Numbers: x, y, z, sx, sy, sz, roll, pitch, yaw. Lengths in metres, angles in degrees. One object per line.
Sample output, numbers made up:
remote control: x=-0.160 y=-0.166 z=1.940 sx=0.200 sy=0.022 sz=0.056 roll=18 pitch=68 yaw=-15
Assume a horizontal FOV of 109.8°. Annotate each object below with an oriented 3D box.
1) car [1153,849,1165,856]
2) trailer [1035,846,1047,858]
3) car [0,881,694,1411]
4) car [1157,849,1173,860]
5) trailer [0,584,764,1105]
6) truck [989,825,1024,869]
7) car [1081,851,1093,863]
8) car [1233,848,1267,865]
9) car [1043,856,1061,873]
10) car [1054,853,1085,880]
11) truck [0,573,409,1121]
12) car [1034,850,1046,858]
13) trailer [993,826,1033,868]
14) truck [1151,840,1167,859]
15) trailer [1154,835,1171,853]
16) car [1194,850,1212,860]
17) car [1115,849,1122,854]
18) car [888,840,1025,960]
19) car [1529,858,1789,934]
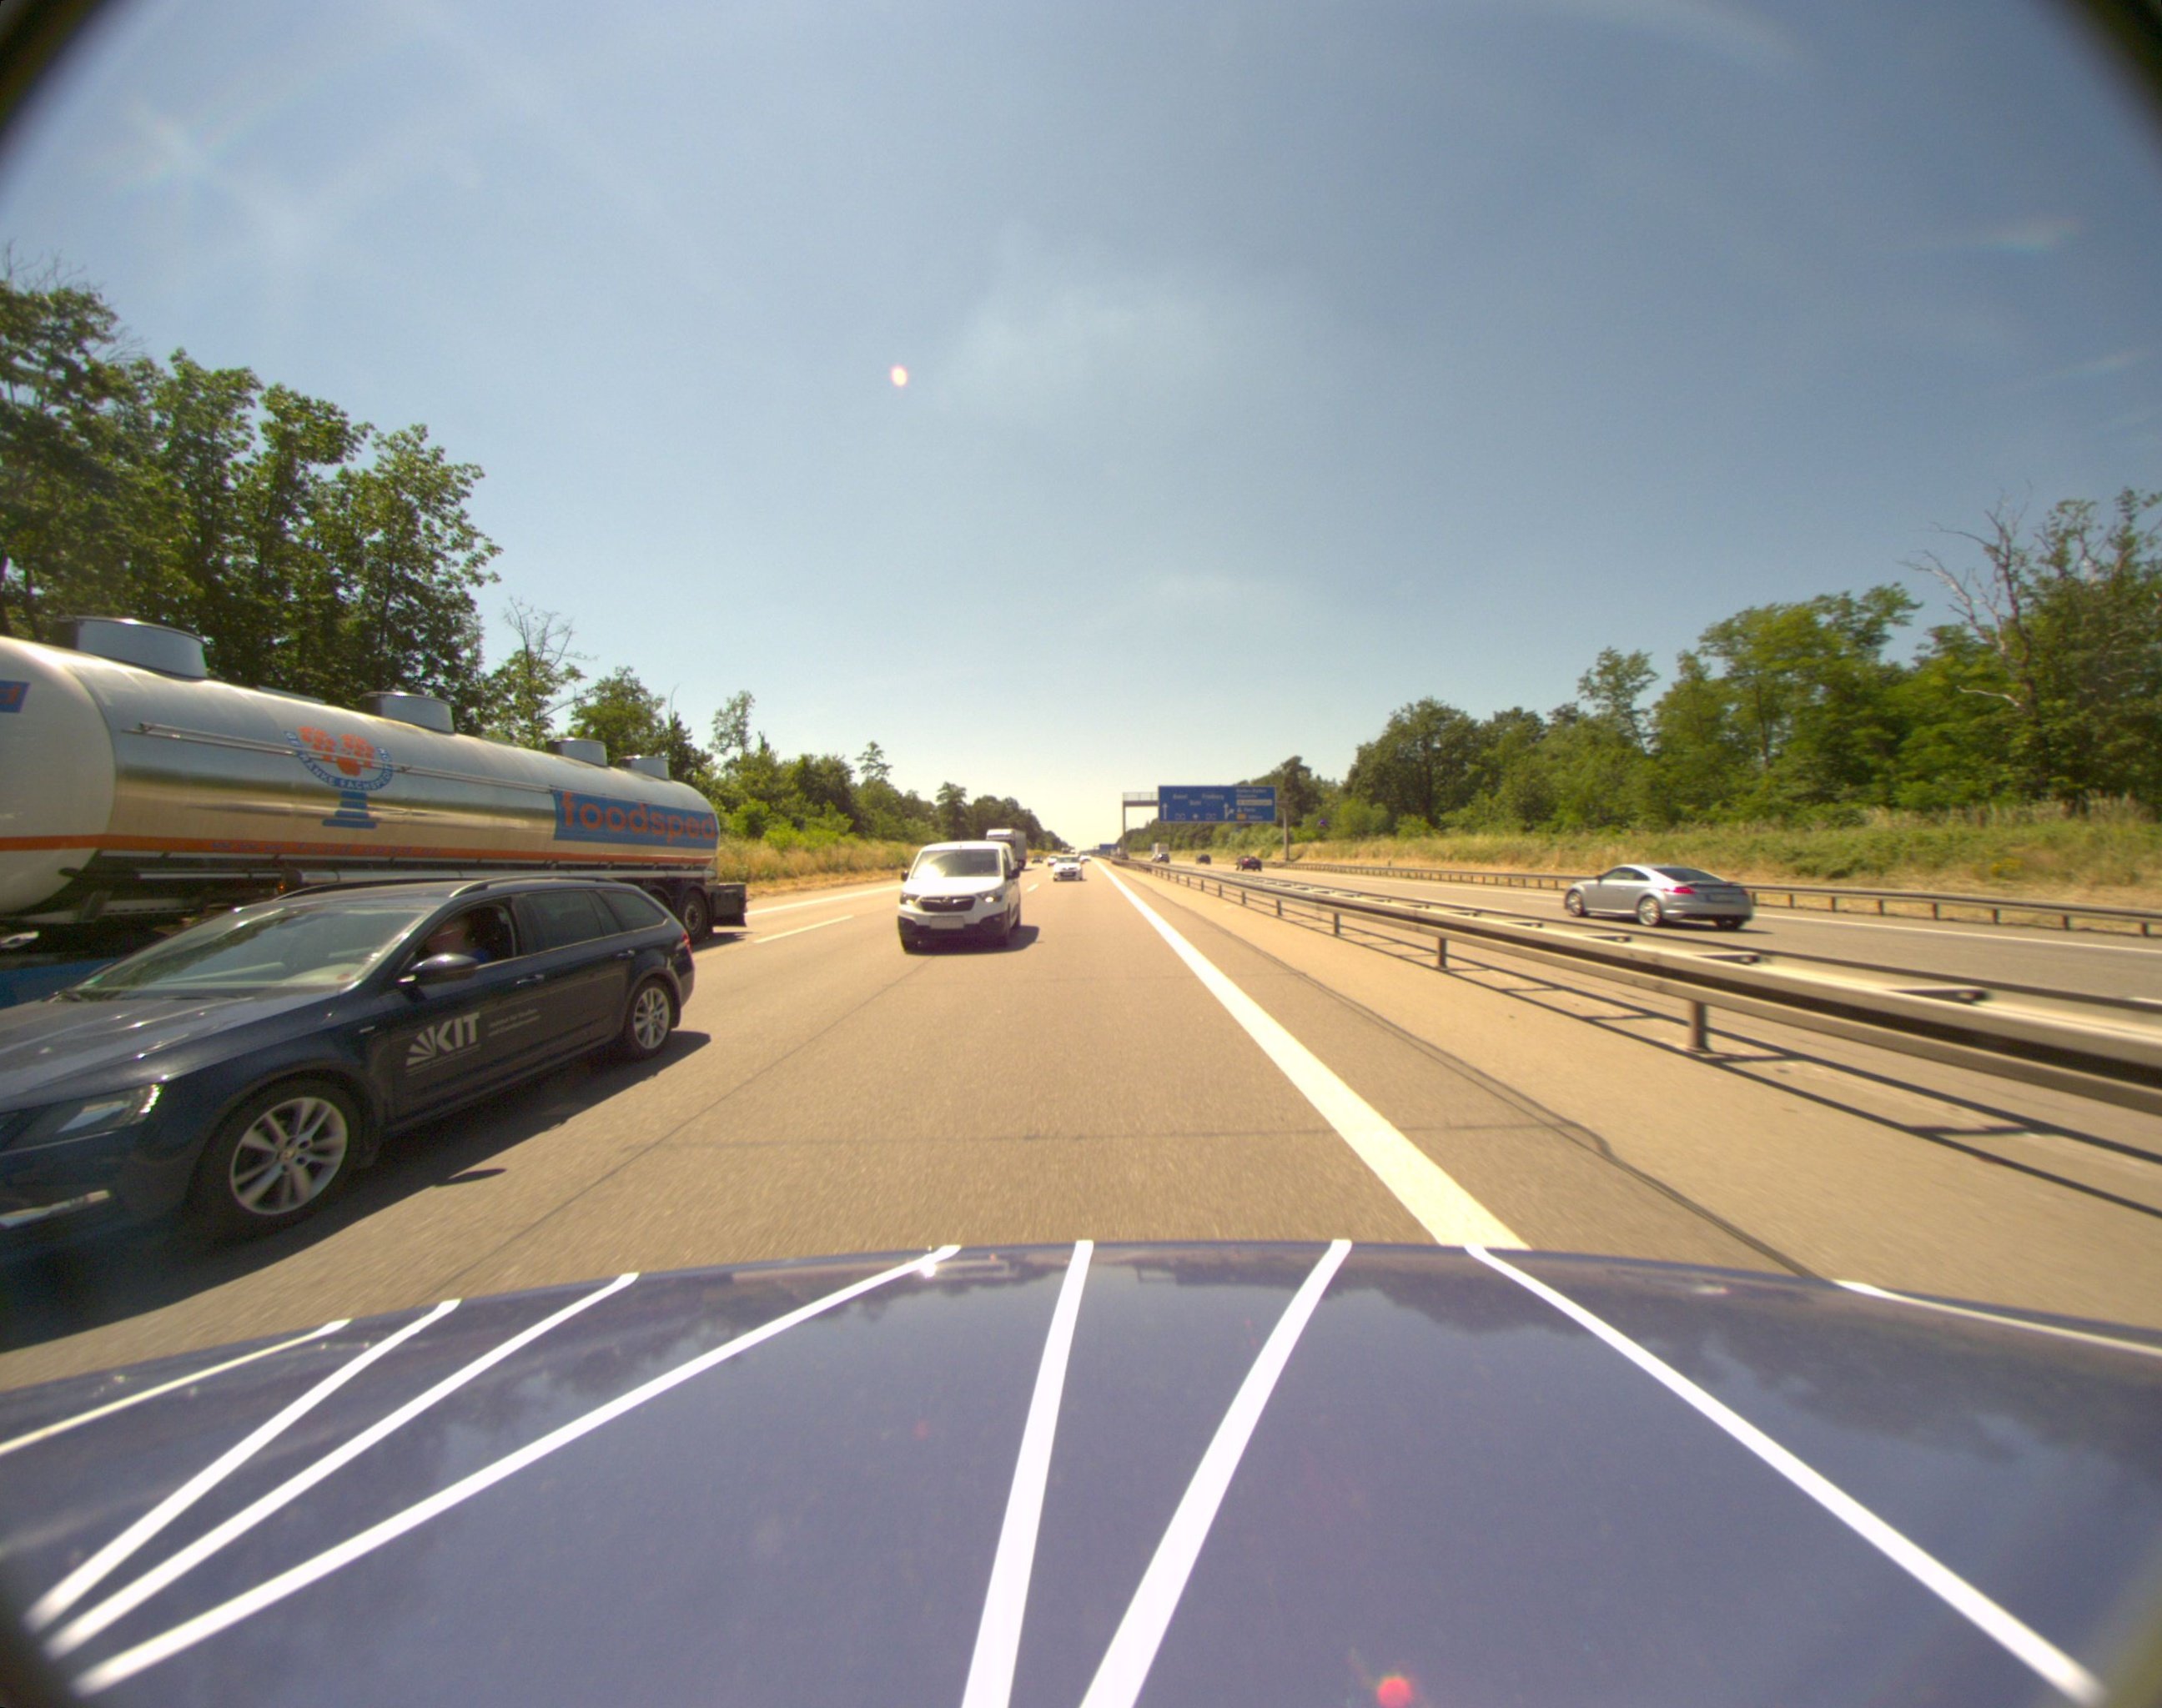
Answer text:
car: x=14.956 y=-0.287 z=145.983 sx=1.811 sy=1.388 sz=4.480 roll=1 pitch=1 yaw=2
trailer: x=-7.153 y=-0.352 z=135.720 sx=1.849 sy=2.196 sz=3.197 roll=-2 pitch=1 yaw=1
car: x=-4.306 y=1.023 z=4.464 sx=1.806 sy=1.475 sz=4.271 roll=-2 pitch=0 yaw=0
car: x=13.132 y=0.044 z=119.571 sx=1.967 sy=1.708 sz=5.289 roll=1 pitch=1 yaw=0
trailer: x=-8.517 y=-0.063 z=11.218 sx=2.535 sy=3.712 sz=11.548 roll=-2 pitch=0 yaw=1
truck: x=-7.066 y=-0.678 z=72.868 sx=2.603 sy=3.980 sz=6.173 roll=-2 pitch=1 yaw=1
car: x=1.103 y=0.576 z=139.401 sx=1.998 sy=2.002 sz=4.000 roll=-2 pitch=1 yaw=1
car: x=15.576 y=0.200 z=70.163 sx=1.967 sy=1.516 sz=5.289 roll=1 pitch=0 yaw=0
car: x=-3.630 y=1.316 z=95.070 sx=1.998 sy=2.002 sz=4.000 roll=-2 pitch=1 yaw=1
car: x=-0.619 y=0.668 z=43.116 sx=1.581 sy=1.412 sz=3.352 roll=-2 pitch=1 yaw=1
truck: x=-8.585 y=-0.014 z=5.080 sx=2.535 sy=3.712 sz=6.098 roll=-2 pitch=1 yaw=1
car: x=-7.170 y=0.053 z=132.448 sx=1.845 sy=1.275 sz=3.352 roll=-2 pitch=1 yaw=1
trailer: x=-7.000 y=-0.735 z=80.144 sx=2.603 sy=3.980 sz=14.079 roll=-2 pitch=0 yaw=1
truck: x=19.367 y=-1.109 z=189.691 sx=3.065 sy=4.532 sz=10.458 roll=0 pitch=0 yaw=1
trailer: x=19.230 y=-2.314 z=179.704 sx=3.065 sy=4.258 sz=8.634 roll=0 pitch=0 yaw=1
car: x=18.497 y=0.156 z=115.412 sx=1.836 sy=1.545 sz=4.949 roll=1 pitch=1 yaw=0
car: x=12.952 y=-0.861 z=262.444 sx=1.836 sy=1.844 sz=5.236 roll=1 pitch=1 yaw=0
car: x=-2.124 y=0.697 z=14.327 sx=1.871 sy=1.807 sz=4.939 roll=-2 pitch=0 yaw=-2
car: x=12.910 y=0.837 z=17.572 sx=1.967 sy=1.420 sz=5.289 roll=1 pitch=0 yaw=0
